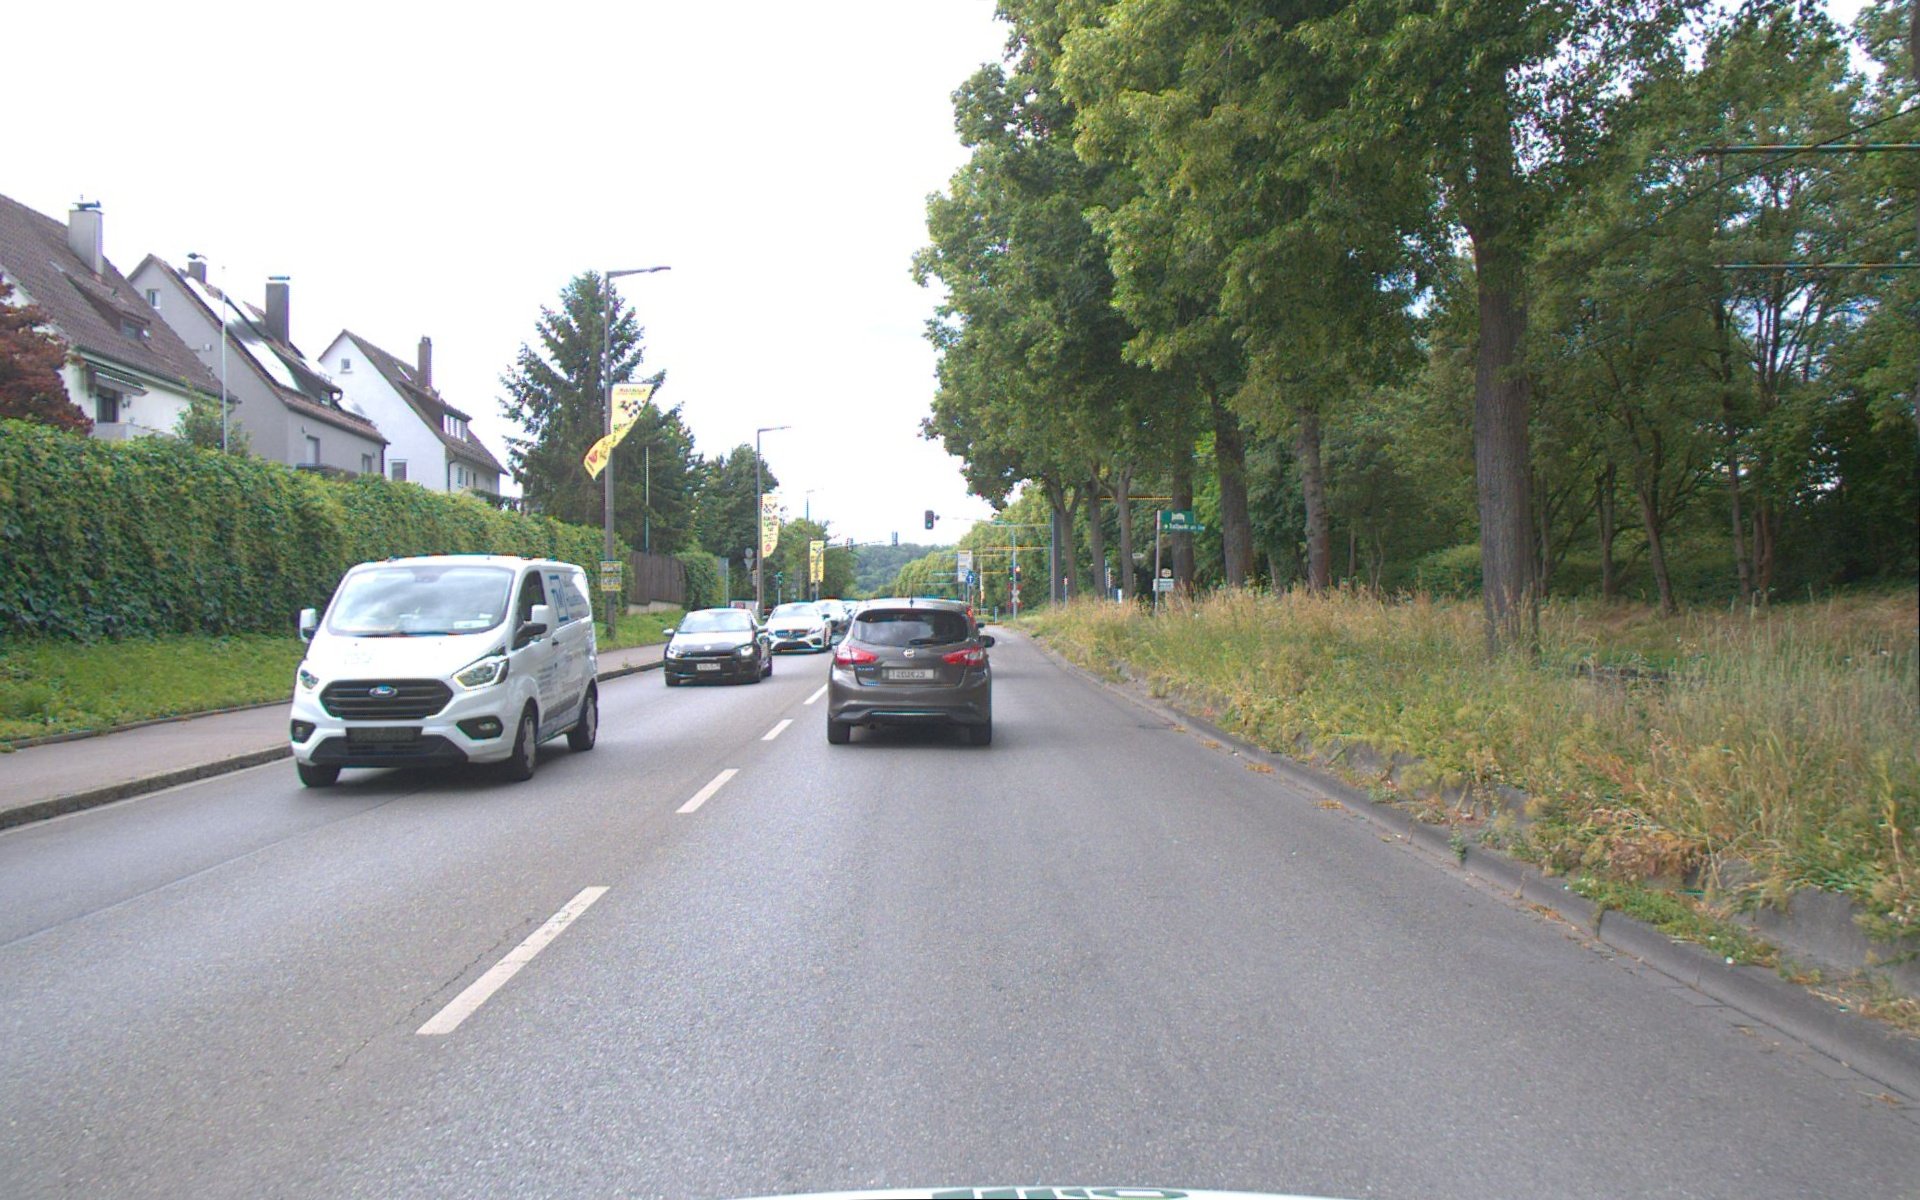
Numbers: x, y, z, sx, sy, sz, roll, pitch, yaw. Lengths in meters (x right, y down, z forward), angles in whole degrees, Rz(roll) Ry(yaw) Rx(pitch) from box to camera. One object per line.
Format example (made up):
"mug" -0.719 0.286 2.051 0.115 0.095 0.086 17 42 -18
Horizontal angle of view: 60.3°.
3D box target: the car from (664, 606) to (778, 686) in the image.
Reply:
"car" -4.553 0.828 32.059 1.617 1.371 4.476 -2 0 -1

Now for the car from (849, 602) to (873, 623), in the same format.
"car" -7.665 0.971 128.439 1.776 1.550 4.175 -2 0 -3

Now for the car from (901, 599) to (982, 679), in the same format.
"car" -0.379 0.733 33.150 1.507 1.504 3.763 -1 0 -1

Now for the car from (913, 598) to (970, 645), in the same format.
"car" -0.595 0.668 53.491 1.755 1.421 3.999 -1 0 -1

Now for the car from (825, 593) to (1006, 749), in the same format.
"car" -0.479 0.715 18.947 1.798 1.545 4.482 1 0 -1

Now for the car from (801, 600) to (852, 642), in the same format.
"car" -5.236 0.805 65.153 1.716 1.545 3.999 -3 0 -1

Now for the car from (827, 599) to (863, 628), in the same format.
"car" -6.239 0.722 90.070 1.693 1.490 4.152 -2 0 -2

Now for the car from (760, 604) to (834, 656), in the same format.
"car" -4.755 0.845 48.821 1.848 1.407 4.489 -2 0 -2

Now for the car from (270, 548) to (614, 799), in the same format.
"car" -4.691 0.581 15.816 1.868 1.966 4.908 -2 0 -2
